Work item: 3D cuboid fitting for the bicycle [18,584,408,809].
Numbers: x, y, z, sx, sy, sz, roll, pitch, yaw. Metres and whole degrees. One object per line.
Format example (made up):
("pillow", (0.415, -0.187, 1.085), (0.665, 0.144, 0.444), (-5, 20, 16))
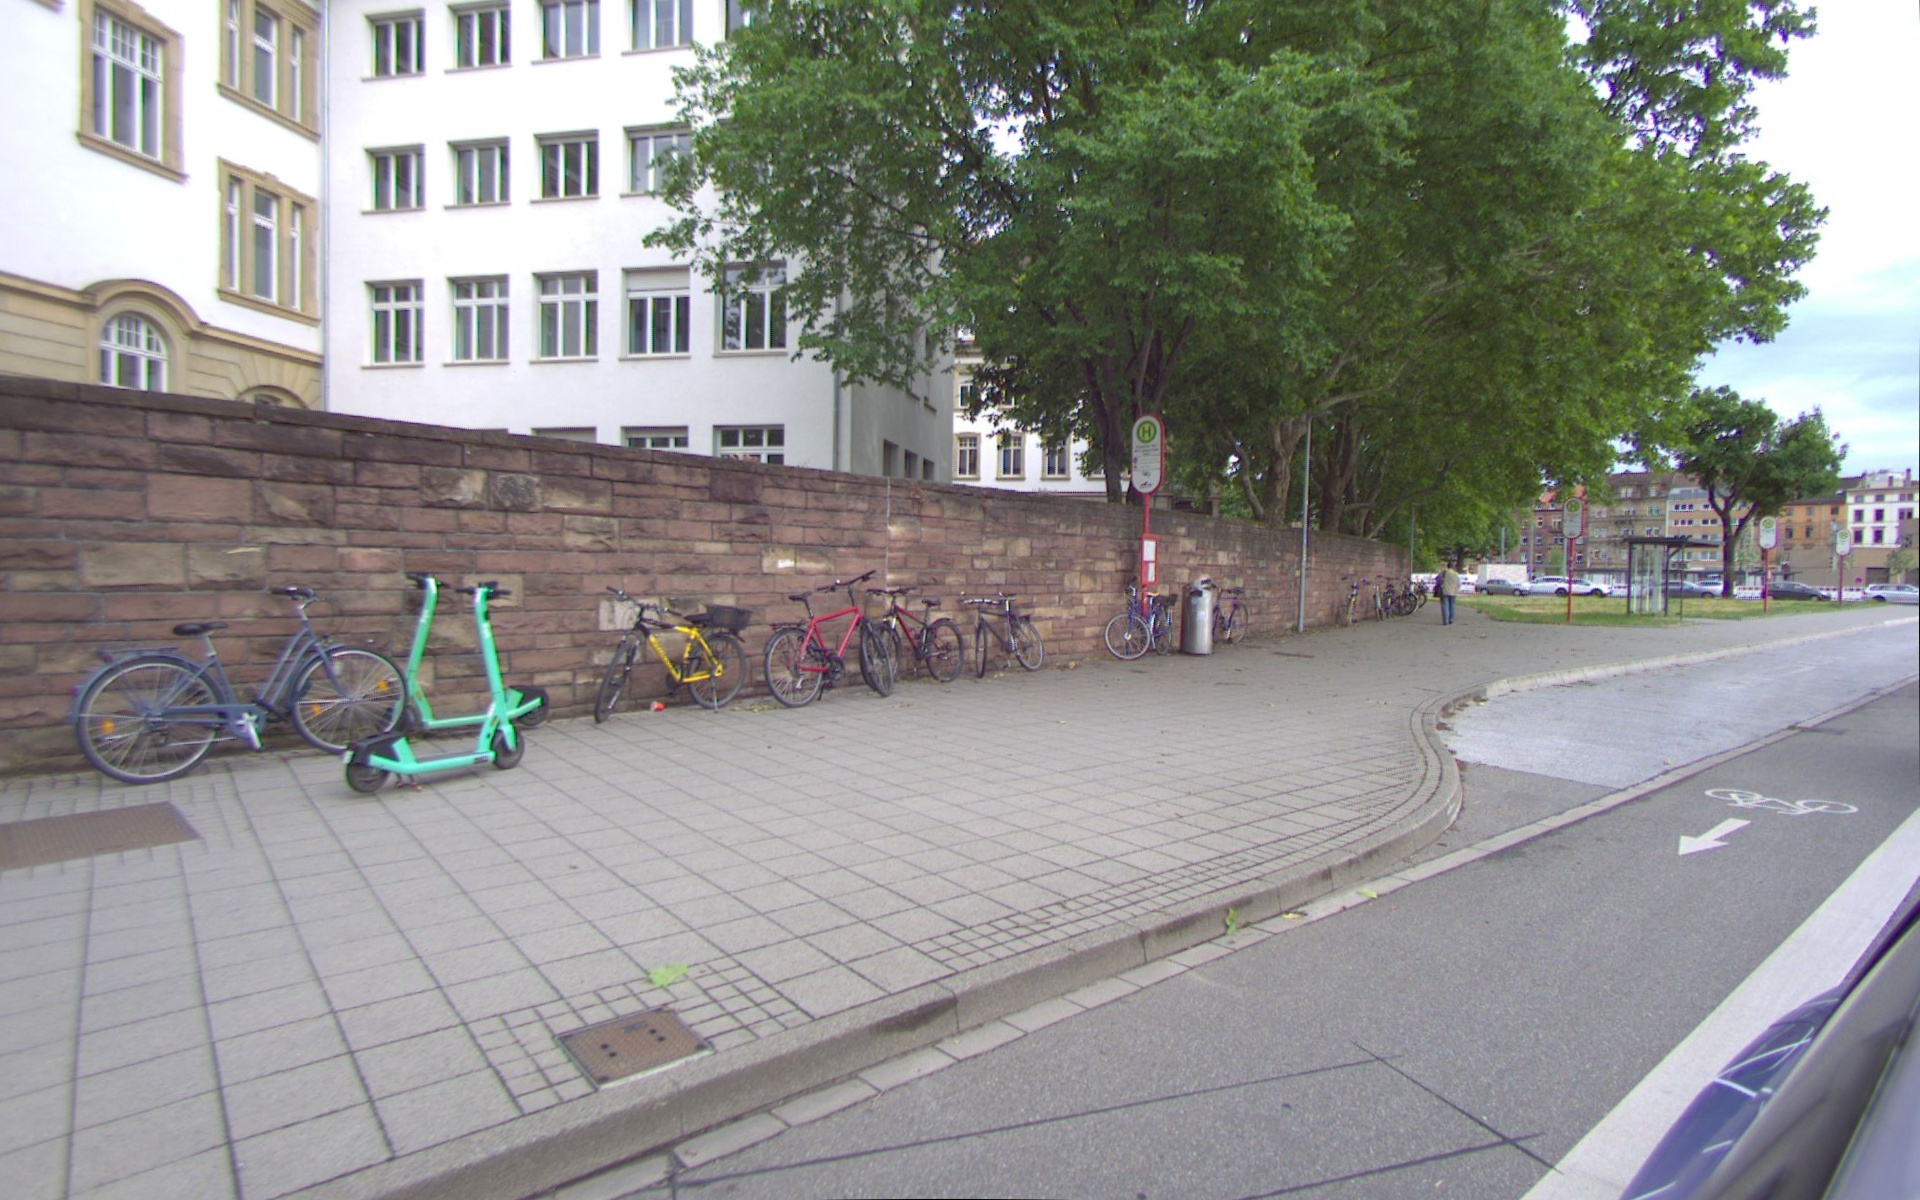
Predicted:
("bicycle", (-4.390, 0.482, 6.142), (0.383, 1.158, 1.922), (0, 1, 29))

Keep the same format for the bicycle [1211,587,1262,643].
("bicycle", (4.822, 0.239, 17.601), (0.290, 0.896, 1.590), (2, 2, 36))

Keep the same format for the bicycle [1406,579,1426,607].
("bicycle", (16.452, -0.267, 36.486), (0.563, 0.951, 1.752), (2, 2, 26))

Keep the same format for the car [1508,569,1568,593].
("car", (50.868, -1.669, 89.126), (1.967, 2.039, 4.274), (-1, 1, -44))

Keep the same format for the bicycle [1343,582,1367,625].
("bicycle", (9.422, 0.066, 24.141), (0.361, 0.951, 1.626), (2, 2, 27))

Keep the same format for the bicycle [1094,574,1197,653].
("bicycle", (2.770, 0.165, 14.925), (0.476, 1.089, 2.051), (3, 3, 42))

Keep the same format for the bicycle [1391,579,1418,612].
("bicycle", (13.987, -0.156, 31.836), (0.648, 0.951, 1.939), (2, 2, 27))

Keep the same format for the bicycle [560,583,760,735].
("bicycle", (-2.480, 0.434, 8.628), (0.383, 1.158, 1.922), (0, 1, 29))

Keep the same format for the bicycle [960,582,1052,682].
("bicycle", (0.594, 0.358, 12.457), (0.336, 1.158, 1.658), (0, 1, 33))

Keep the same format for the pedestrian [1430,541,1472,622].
("pedestrian", (12.741, -0.500, 26.237), (0.778, 2.037, 0.879), (4, 4, 32))

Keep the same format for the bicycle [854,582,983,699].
("bicycle", (-0.400, 0.387, 10.903), (0.336, 1.158, 1.919), (0, 1, 33))

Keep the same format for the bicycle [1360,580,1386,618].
("bicycle", (11.108, -0.050, 27.176), (0.477, 0.951, 1.882), (2, 2, 27))

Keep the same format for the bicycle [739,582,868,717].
("bicycle", (-1.440, 0.412, 9.676), (0.381, 1.158, 1.930), (0, 1, 18))

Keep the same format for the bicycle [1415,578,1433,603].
("bicycle", (20.824, -0.432, 45.393), (0.686, 1.098, 1.639), (2, 2, 26))

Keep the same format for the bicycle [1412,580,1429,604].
("bicycle", (18.783, -0.334, 41.290), (0.555, 0.951, 1.342), (2, 2, 26))
